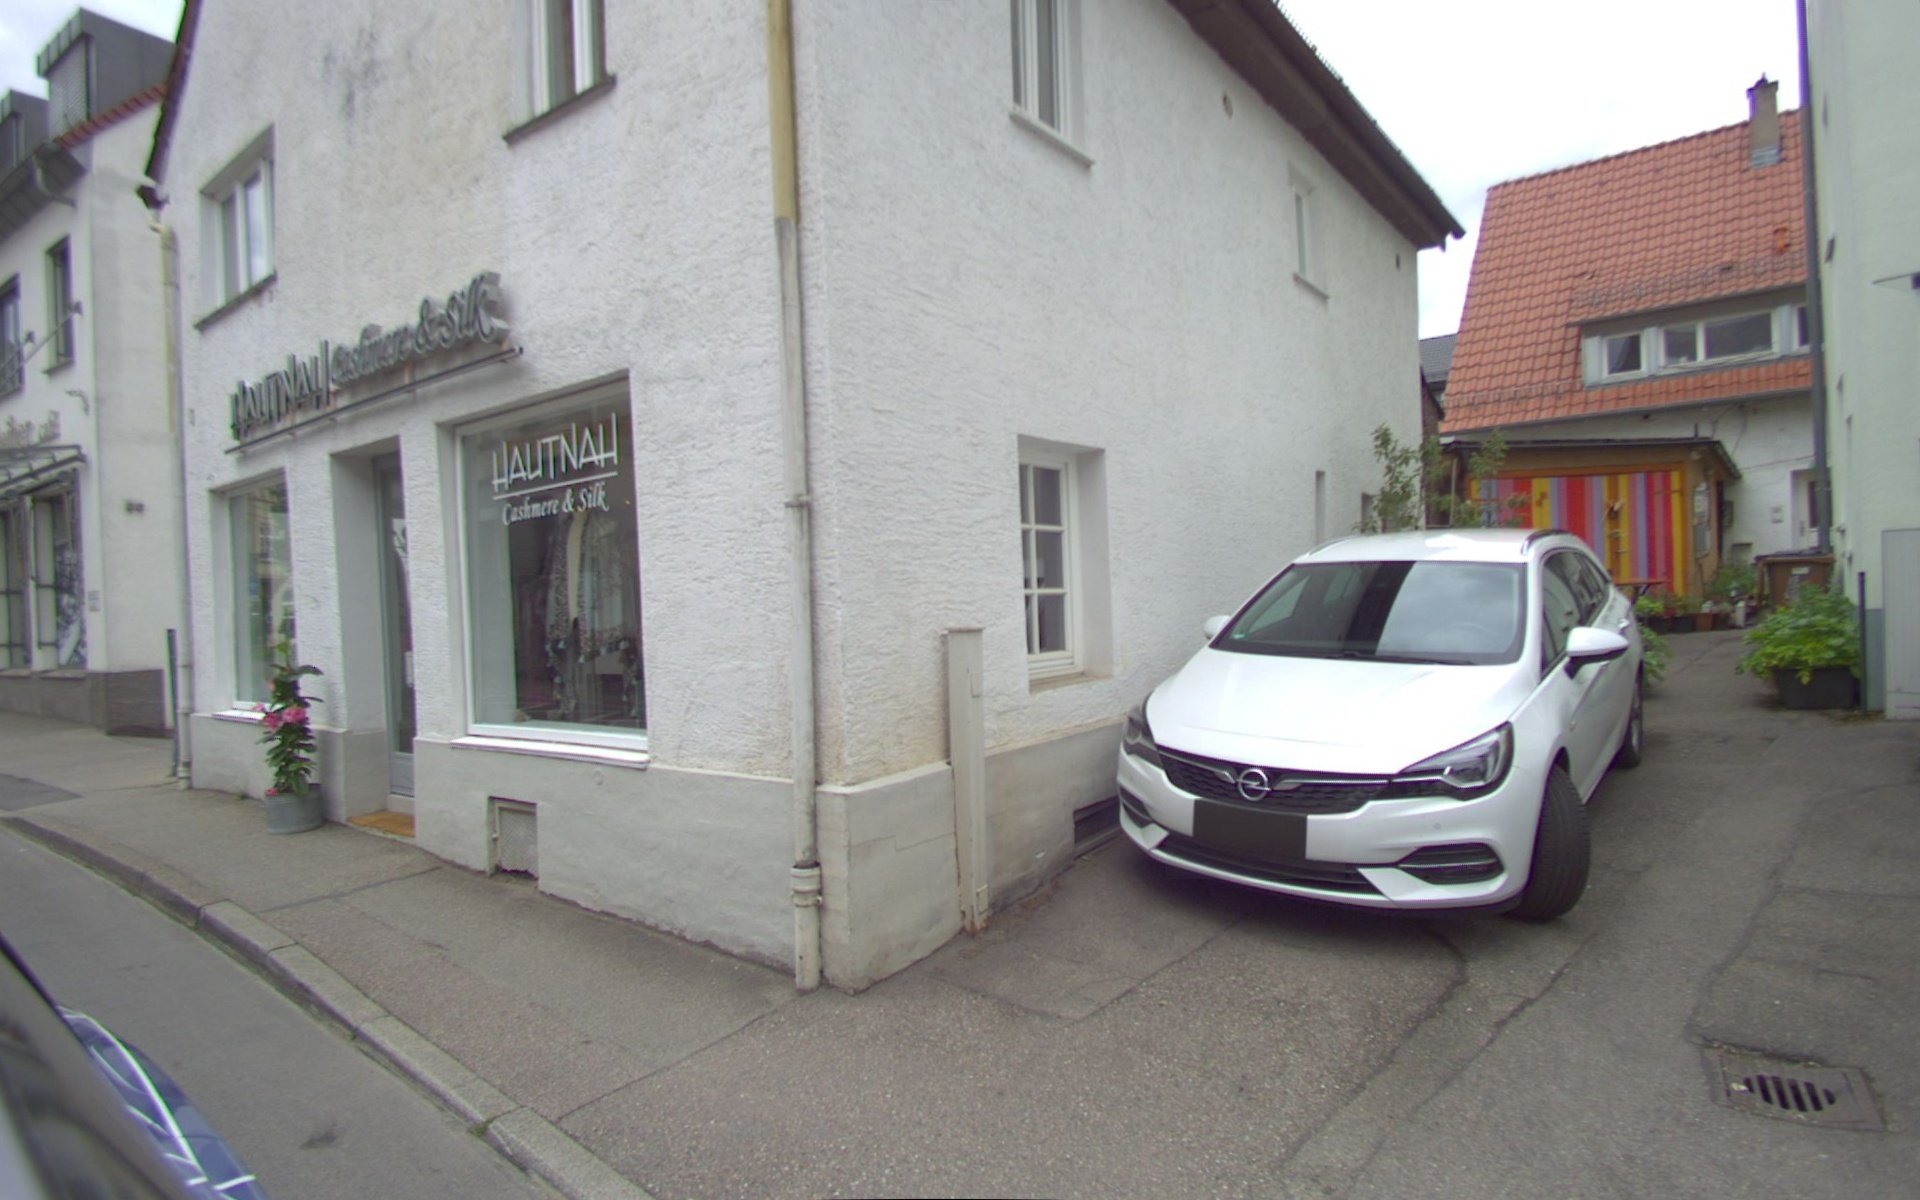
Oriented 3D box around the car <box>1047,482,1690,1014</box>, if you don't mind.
[{"bbox_3d":[2.539,0.225,5.374,1.976,1.510,4.496,2,7,38],"label":"car"}]
